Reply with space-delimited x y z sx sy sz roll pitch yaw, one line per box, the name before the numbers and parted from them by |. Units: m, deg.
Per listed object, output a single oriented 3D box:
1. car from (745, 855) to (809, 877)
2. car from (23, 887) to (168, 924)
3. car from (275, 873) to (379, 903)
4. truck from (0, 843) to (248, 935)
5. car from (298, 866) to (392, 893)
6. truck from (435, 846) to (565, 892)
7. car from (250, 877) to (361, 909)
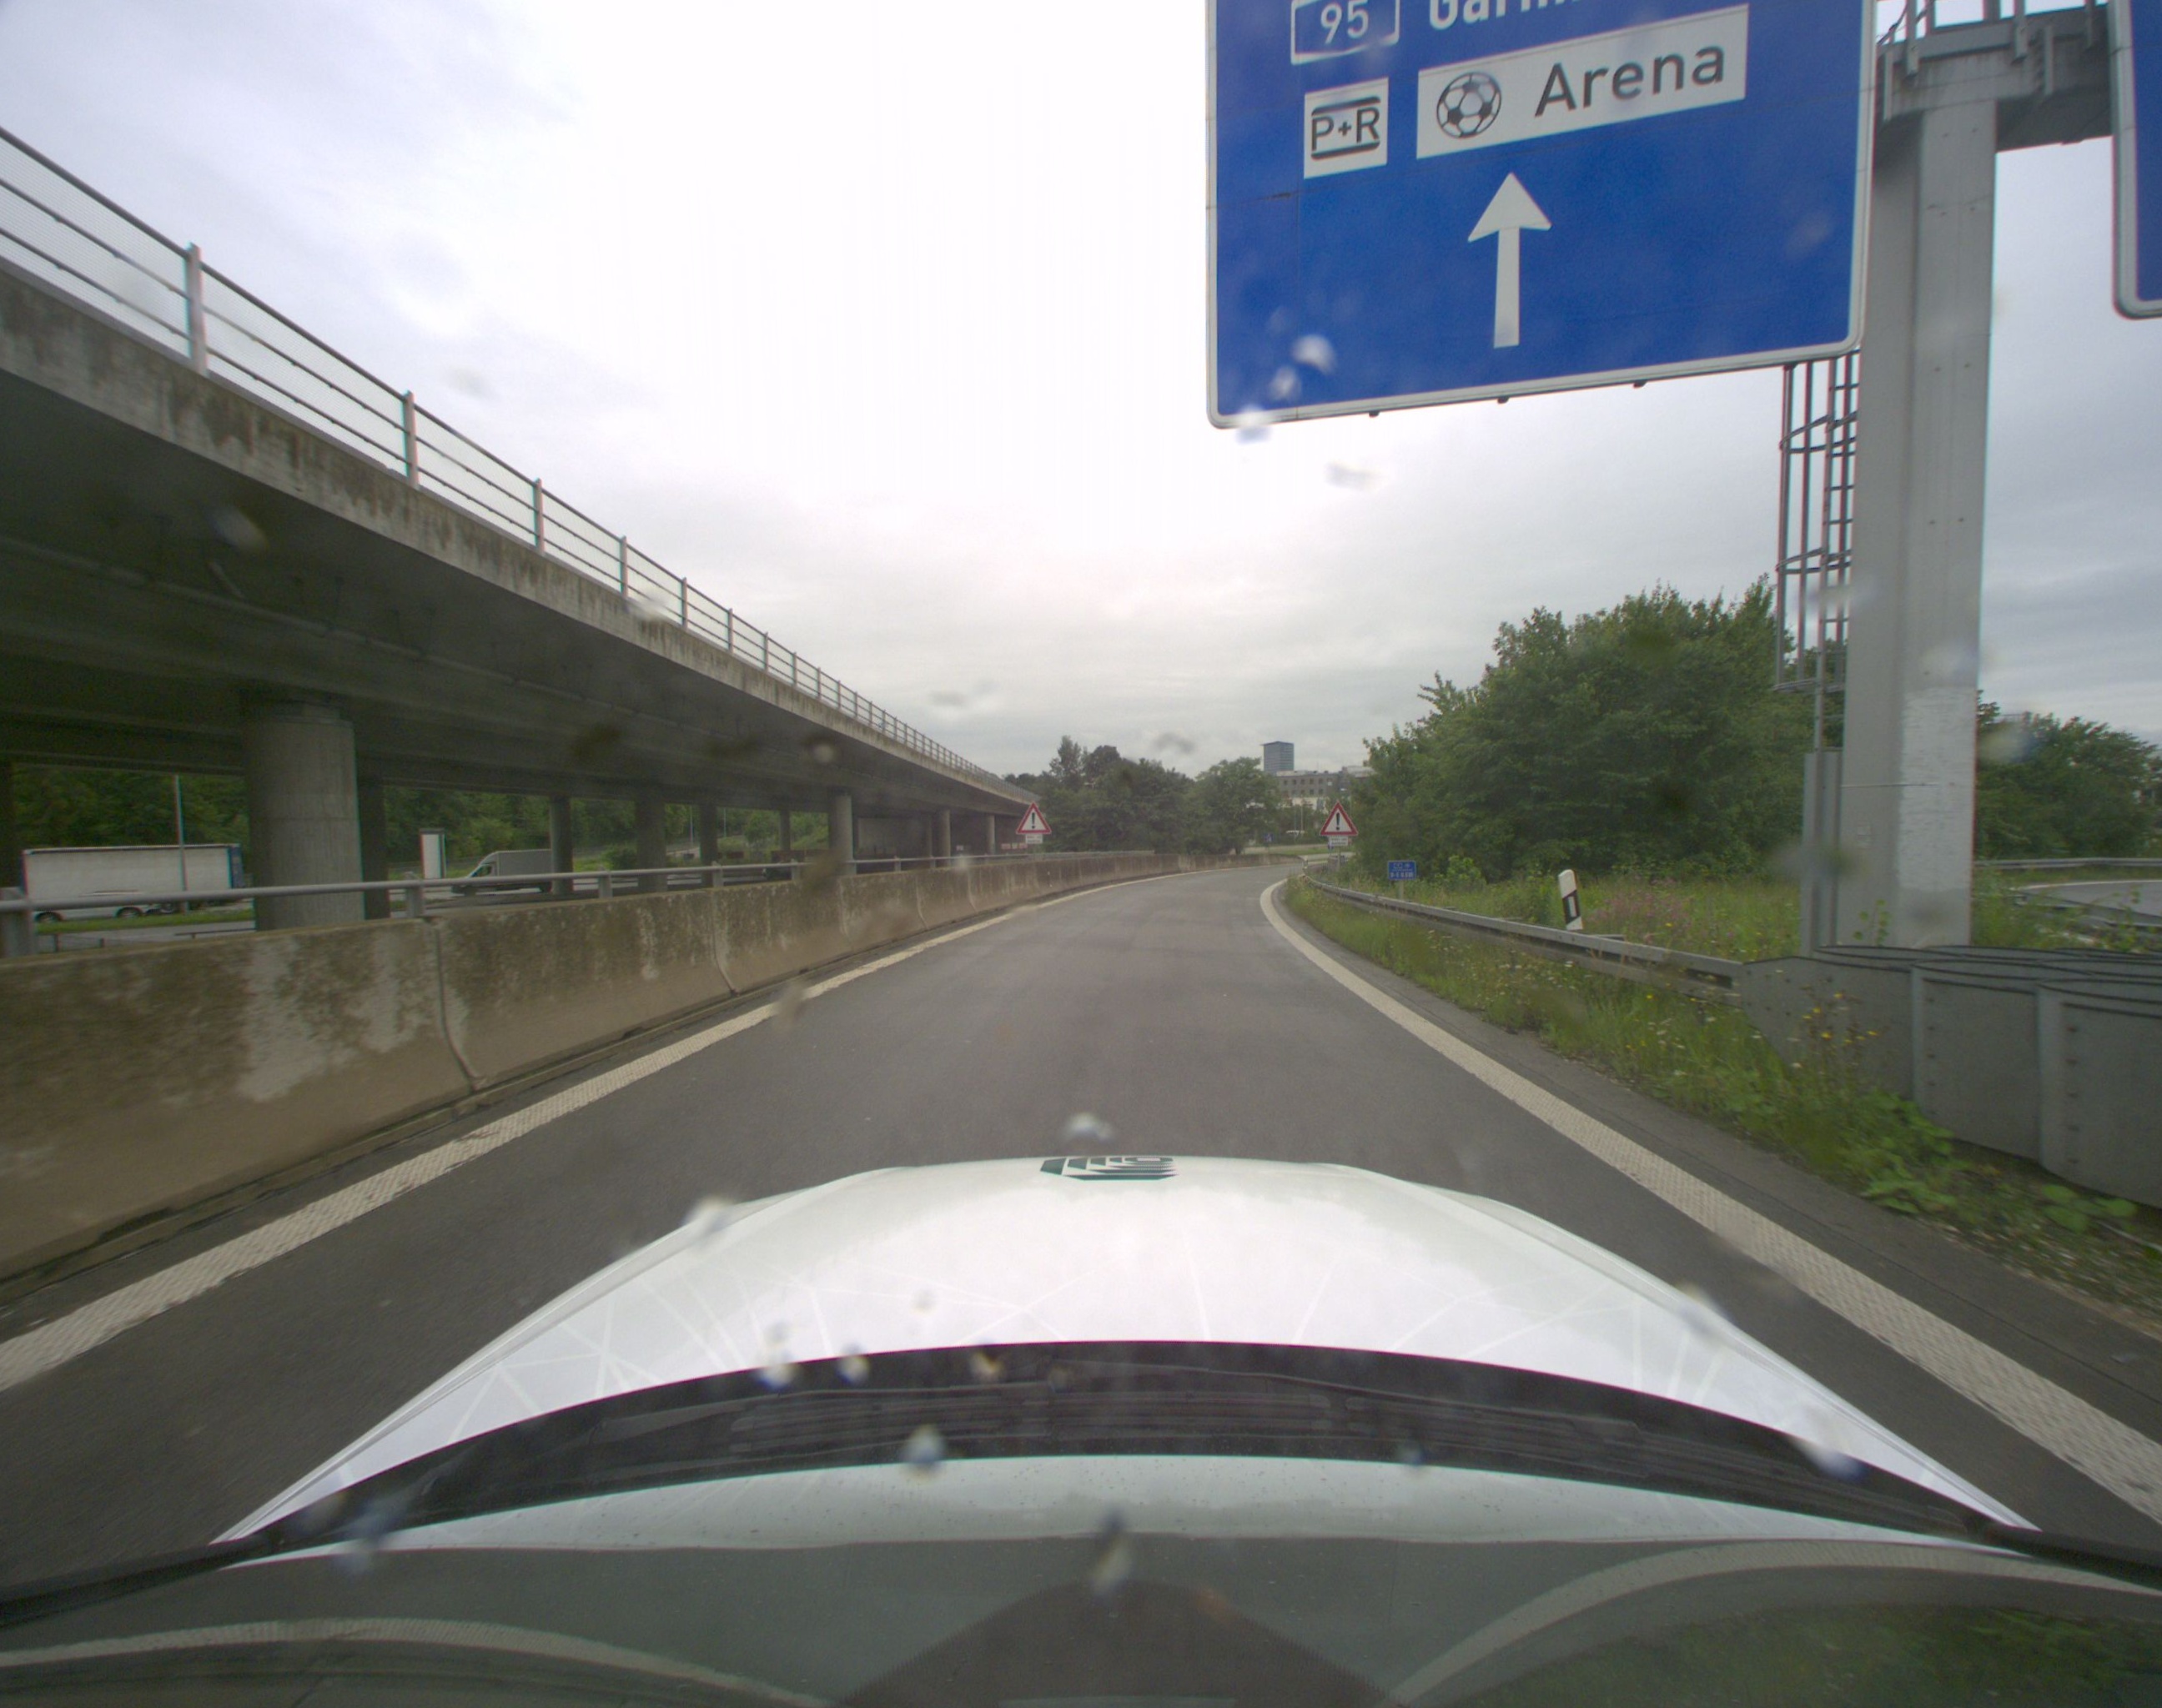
car | -25.629 0.992 68.724 4.616 1.583 1.952 -2 1 -41
car | -52.151 2.677 43.274 4.616 1.583 1.952 -2 1 -41
car | -47.096 2.081 51.010 4.614 1.583 1.953 -2 1 -39
truck | -53.871 1.806 45.631 9.650 4.591 2.767 -2 1 -39
car | -50.757 1.716 56.303 4.613 1.583 1.953 -2 1 -38
truck | -40.270 0.948 56.649 7.267 2.977 2.235 -1 0 -38
car | -45.858 2.271 48.306 4.616 1.583 1.952 -2 1 -41
